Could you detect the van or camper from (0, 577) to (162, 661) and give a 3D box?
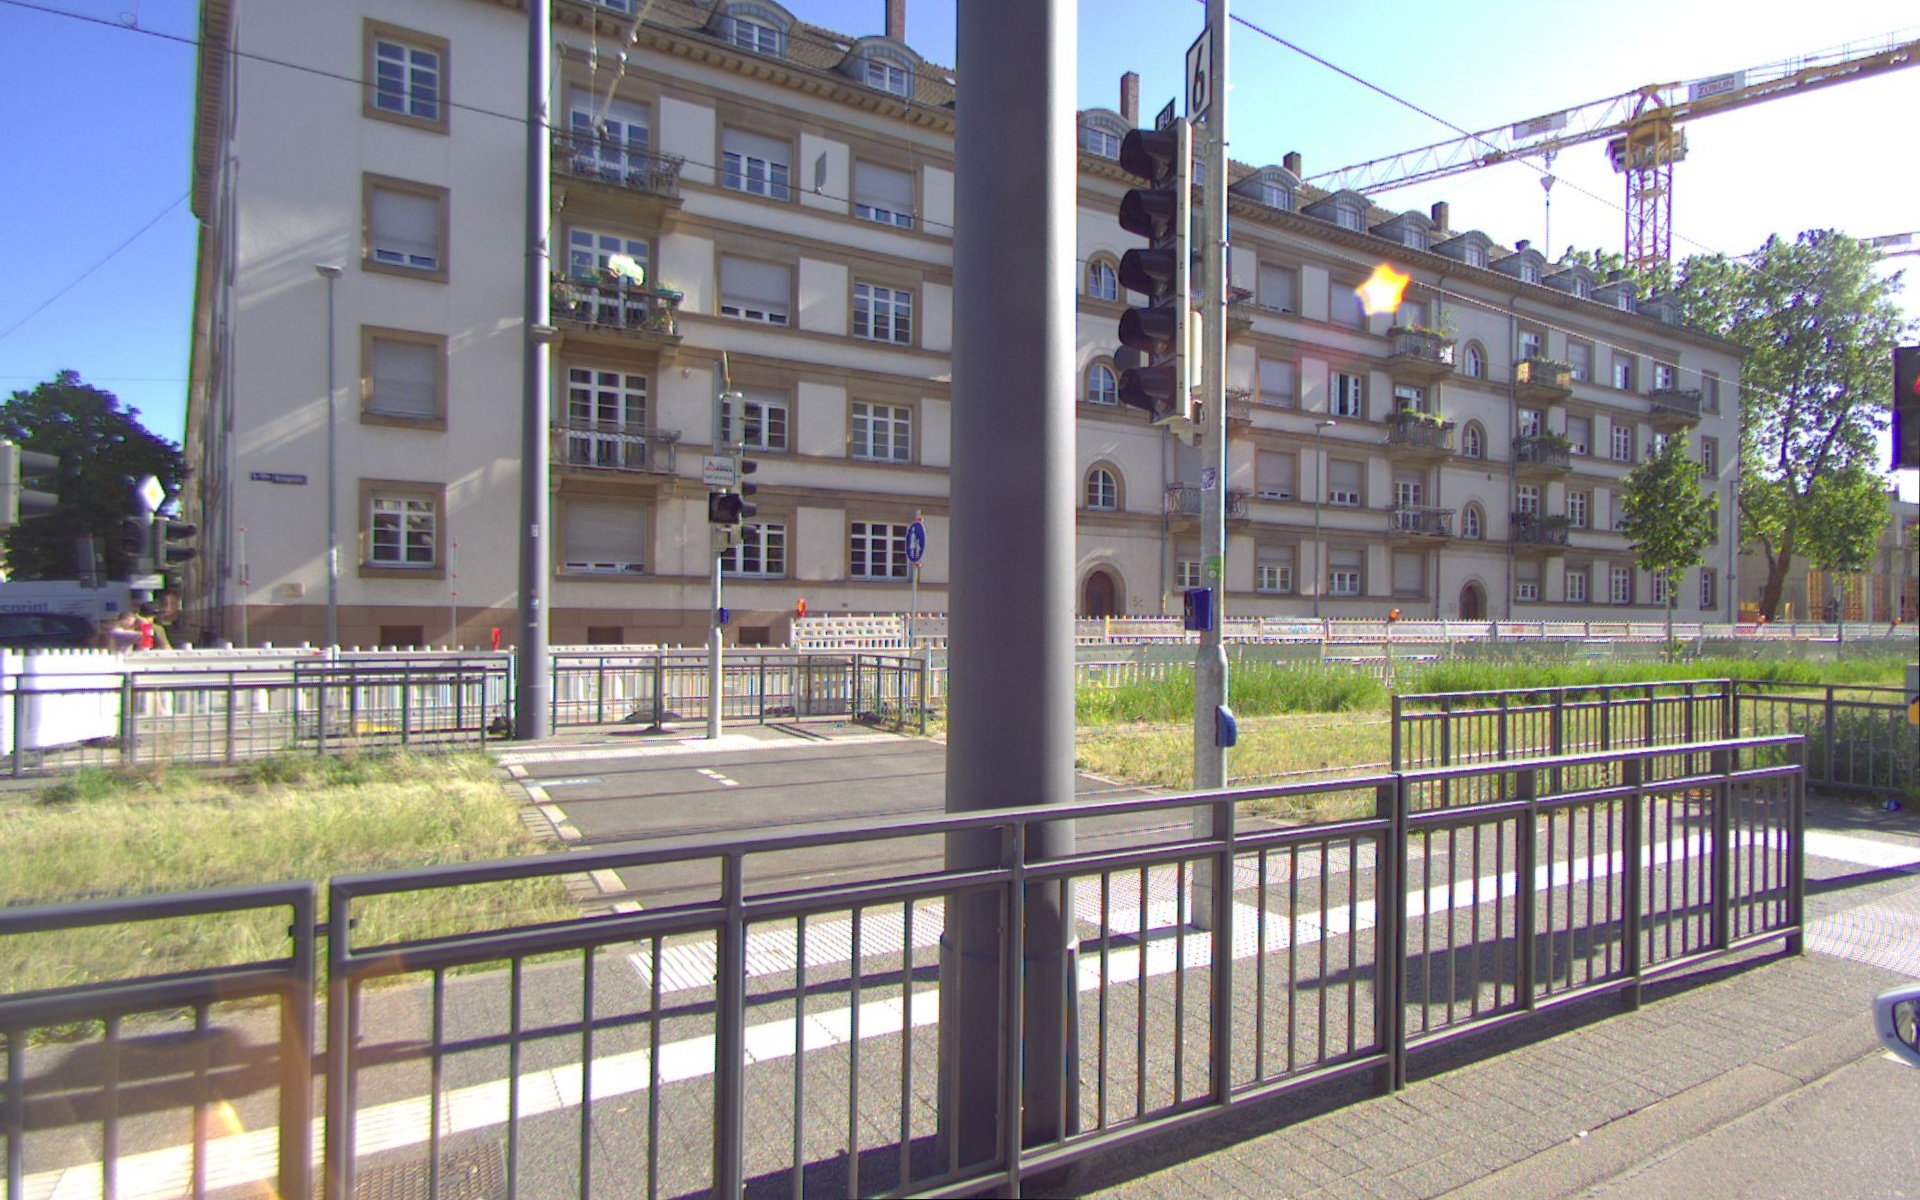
[{"bbox_3d":[-27.857,0.563,30.240,5.911,2.432,1.976,1,-1,-42],"label":"van or camper"}]

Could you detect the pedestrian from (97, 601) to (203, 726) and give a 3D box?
[{"bbox_3d":[-12.077,0.934,15.007,0.893,1.804,0.866,1,0,-8],"label":"pedestrian"}]

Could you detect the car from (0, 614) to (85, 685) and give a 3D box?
[{"bbox_3d":[-21.835,1.088,22.212,3.642,1.542,1.672,1,-1,-39],"label":"car"}]

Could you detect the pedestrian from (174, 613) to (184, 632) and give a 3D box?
[{"bbox_3d":[-73.435,2.108,94.452,0.682,1.778,0.808,1,-1,-36],"label":"pedestrian"}]

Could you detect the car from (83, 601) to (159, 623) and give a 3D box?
[{"bbox_3d":[-58.035,0.845,69.525,1.730,1.480,3.854,0,-1,43],"label":"car"}]

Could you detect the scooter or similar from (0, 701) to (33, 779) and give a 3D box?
[{"bbox_3d":[-8.892,1.261,8.999,0.695,0.660,0.516,1,0,4],"label":"scooter or similar"}]

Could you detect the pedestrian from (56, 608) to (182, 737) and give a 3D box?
[{"bbox_3d":[-10.593,0.897,12.692,0.893,1.557,0.866,1,0,-11],"label":"pedestrian"}]

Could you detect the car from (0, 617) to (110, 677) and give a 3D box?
[{"bbox_3d":[-24.947,1.218,26.613,3.635,1.542,1.672,1,-1,-39],"label":"car"}]

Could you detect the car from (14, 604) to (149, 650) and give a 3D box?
[{"bbox_3d":[-35.535,1.086,40.772,3.963,1.799,1.724,1,-1,-37],"label":"car"}]
